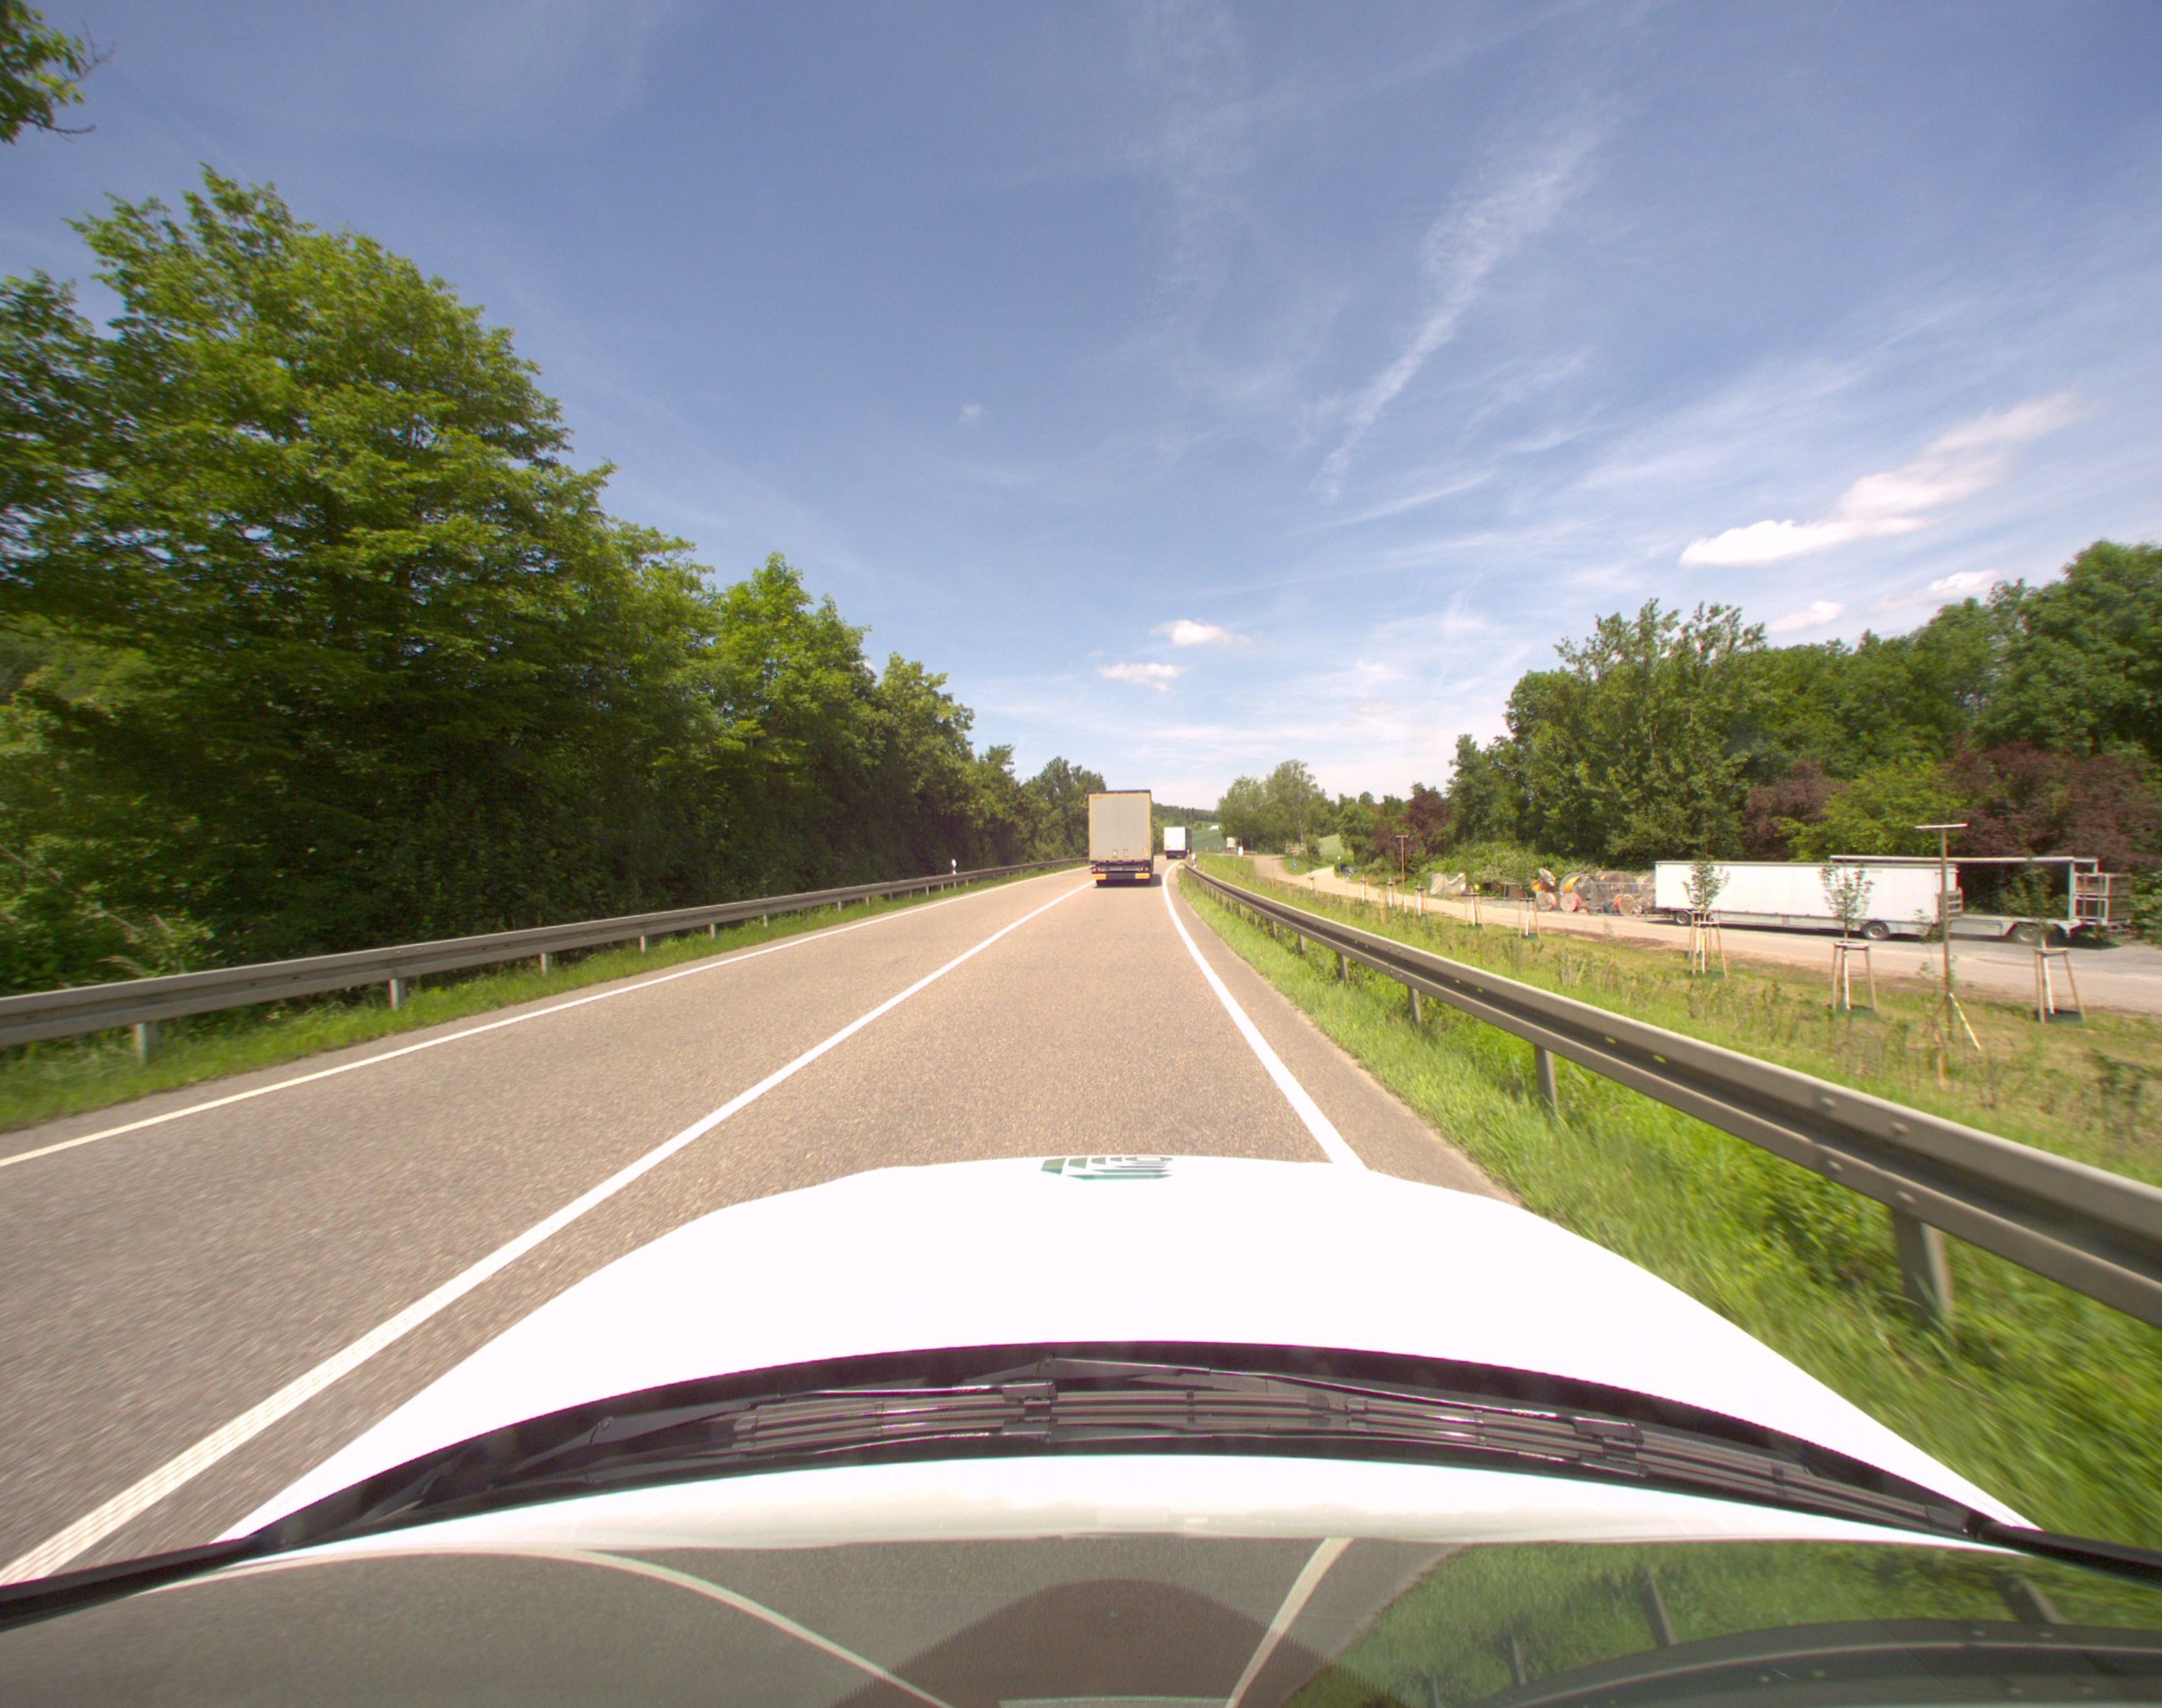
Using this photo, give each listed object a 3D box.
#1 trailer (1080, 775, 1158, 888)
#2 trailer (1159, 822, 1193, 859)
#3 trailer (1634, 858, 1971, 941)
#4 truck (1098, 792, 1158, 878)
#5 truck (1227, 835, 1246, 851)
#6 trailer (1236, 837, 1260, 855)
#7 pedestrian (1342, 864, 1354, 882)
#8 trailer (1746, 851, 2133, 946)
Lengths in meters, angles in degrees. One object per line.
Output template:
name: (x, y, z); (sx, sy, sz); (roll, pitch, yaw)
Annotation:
trailer: (2.178, -0.939, 39.824); (3.103, 4.499, 13.907); (-1, 0, 5)
trailer: (12.334, -1.541, 104.592); (3.344, 4.317, 13.905); (-1, -1, 11)
trailer: (33.294, 1.858, 38.667); (2.734, 3.328, 11.788); (-1, 0, -27)
truck: (2.805, -0.994, 46.424); (3.103, 4.494, 6.821); (-1, 0, 5)
truck: (35.662, -2.439, 186.628); (3.198, 3.365, 11.925); (-1, -1, 16)
trailer: (42.424, -1.960, 206.114); (3.616, 4.263, 12.260); (-1, -1, 22)
pedestrian: (28.402, 2.011, 86.522); (0.882, 1.811, 0.959); (-4, 0, 1)
trailer: (37.641, 1.686, 36.783); (2.732, 3.606, 11.795); (0, 0, -25)
